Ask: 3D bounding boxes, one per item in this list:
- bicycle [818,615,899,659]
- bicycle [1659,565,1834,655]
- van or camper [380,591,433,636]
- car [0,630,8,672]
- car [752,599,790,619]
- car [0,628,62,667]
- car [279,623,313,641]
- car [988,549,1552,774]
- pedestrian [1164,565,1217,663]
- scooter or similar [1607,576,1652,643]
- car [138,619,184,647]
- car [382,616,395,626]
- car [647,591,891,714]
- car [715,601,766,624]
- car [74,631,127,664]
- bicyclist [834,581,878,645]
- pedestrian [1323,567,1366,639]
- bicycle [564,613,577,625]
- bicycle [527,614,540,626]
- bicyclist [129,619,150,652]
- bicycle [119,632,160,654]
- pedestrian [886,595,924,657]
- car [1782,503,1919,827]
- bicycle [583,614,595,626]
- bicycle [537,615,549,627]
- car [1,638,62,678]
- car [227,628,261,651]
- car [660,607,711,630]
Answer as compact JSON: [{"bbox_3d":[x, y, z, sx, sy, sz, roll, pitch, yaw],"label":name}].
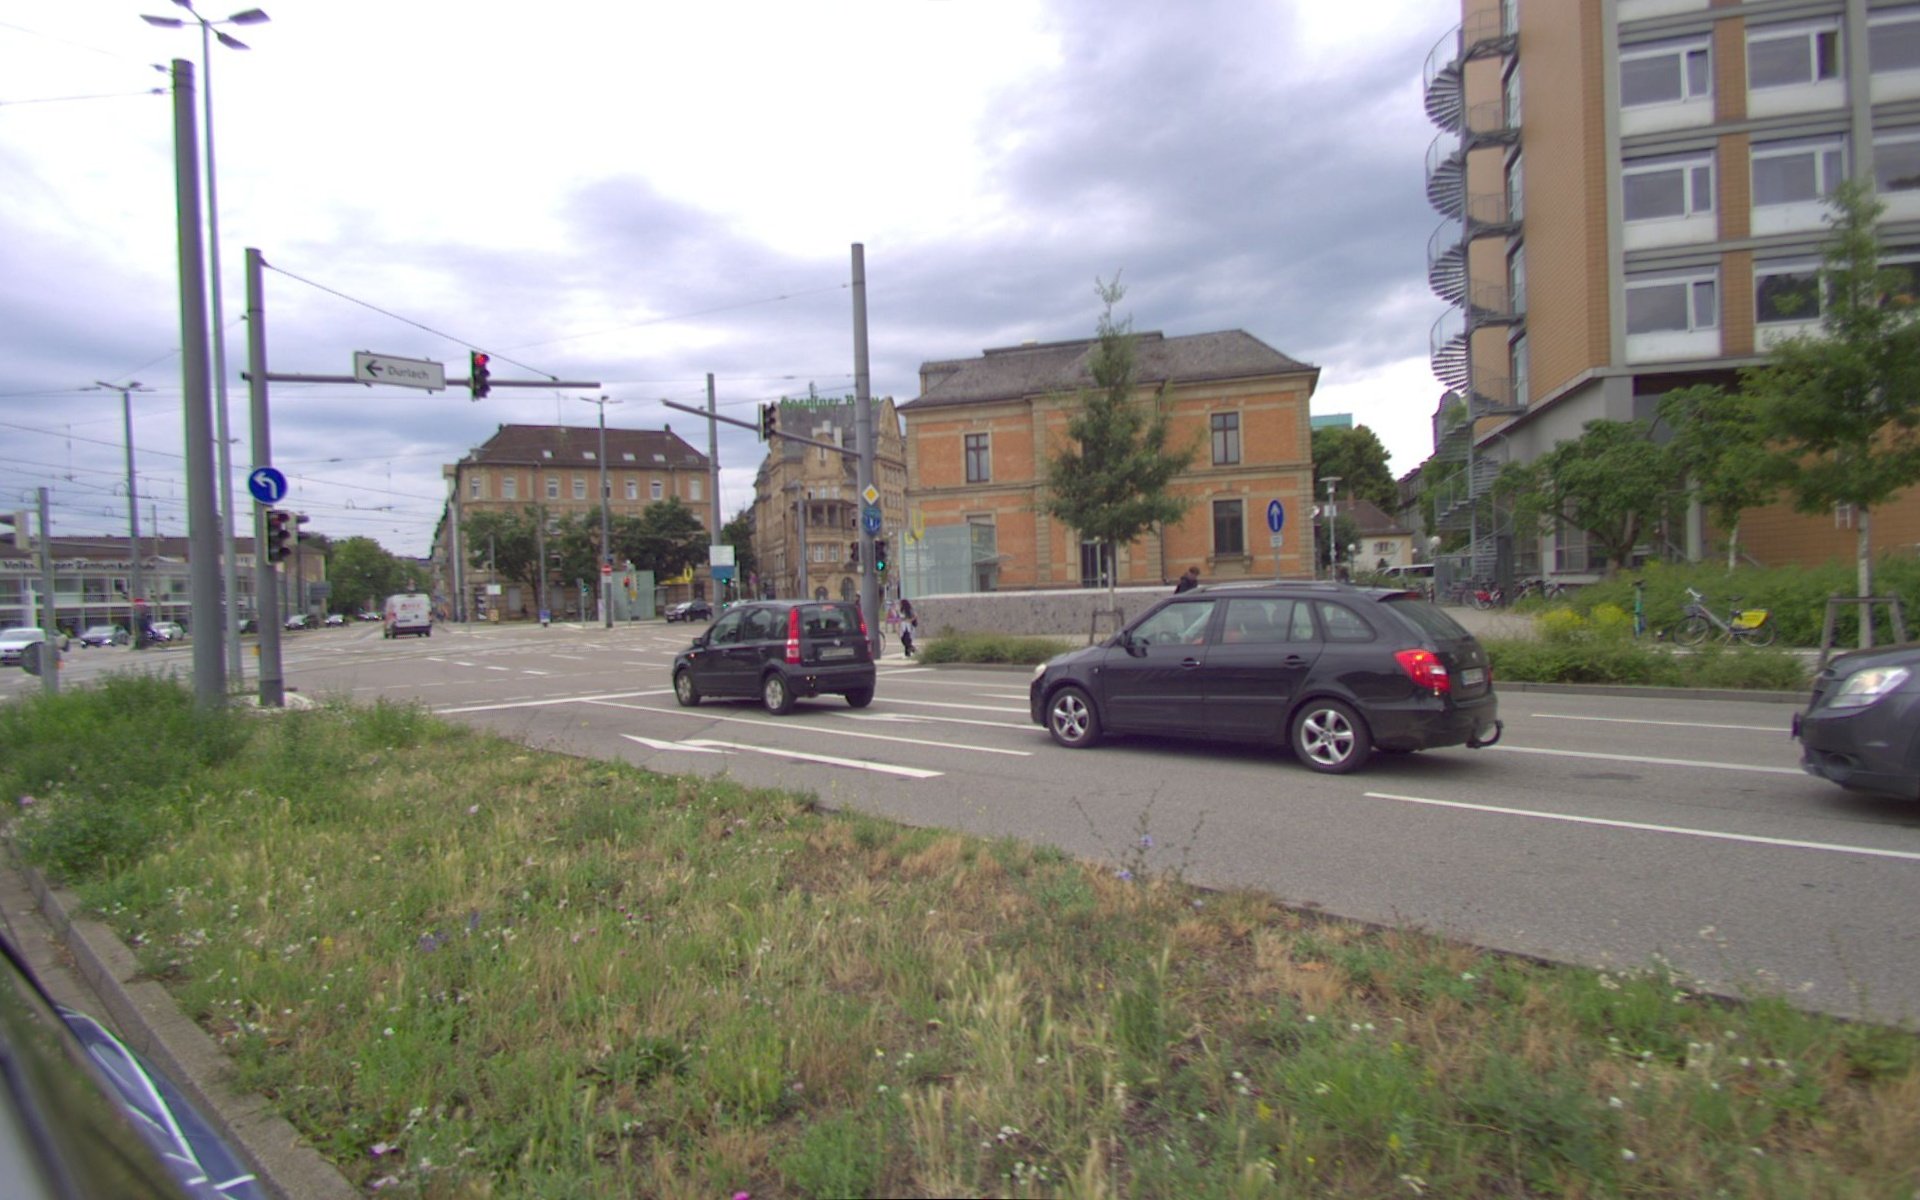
[{"bbox_3d":[-2.798,1.004,27.980,2.086,1.036,0.797,-5,1,-38],"label":"bicycle"},{"bbox_3d":[13.766,0.185,17.807,0.835,1.460,2.261,-2,0,-22],"label":"bicycle"},{"bbox_3d":[-33.237,0.862,60.655,2.248,2.547,5.587,-1,-1,-34],"label":"van or camper"},{"bbox_3d":[-46.535,2.443,47.357,1.966,2.029,4.012,-2,-1,-30],"label":"car"},{"bbox_3d":[-17.664,0.868,94.823,1.818,1.773,3.978,-2,0,18],"label":"car"},{"bbox_3d":[-37.641,1.893,40.463,1.941,1.467,4.204,-2,-1,-33],"label":"car"},{"bbox_3d":[-71.370,3.384,108.869,2.333,1.768,5.146,-2,0,-25],"label":"car"},{"bbox_3d":[2.527,0.501,9.074,4.480,1.519,1.849,-3,-3,44],"label":"car"},{"bbox_3d":[4.824,0.297,21.153,0.809,1.995,0.659,-1,-2,-42],"label":"pedestrian"},{"bbox_3d":[13.846,0.183,20.952,0.628,1.312,1.757,-3,-1,31],"label":"scooter or similar"},{"bbox_3d":[-61.635,2.538,78.140,1.966,2.029,4.013,-2,0,-27],"label":"car"},{"bbox_3d":[-93.914,3.466,166.223,1.857,1.481,4.478,-2,0,-30],"label":"car"},{"bbox_3d":[-2.807,0.699,14.388,3.666,1.527,1.600,-3,-2,45],"label":"car"},{"bbox_3d":[-18.531,1.062,85.719,2.143,1.727,4.900,-2,0,15],"label":"car"},{"bbox_3d":[-56.814,3.106,66.949,1.966,2.029,4.012,-2,-1,-30],"label":"car"},{"bbox_3d":[-2.867,0.357,27.938,0.802,1.669,0.795,-5,1,-38],"label":"bicyclist"},{"bbox_3d":[9.588,0.079,25.217,0.738,1.747,0.687,-1,-2,-42],"label":"pedestrian"},{"bbox_3d":[-35.593,1.744,92.461,0.742,1.038,2.404,-2,0,-28],"label":"bicycle"},{"bbox_3d":[-38.477,1.841,91.290,0.823,1.038,2.404,-2,0,-28],"label":"bicycle"},{"bbox_3d":[-42.768,1.839,52.765,0.514,1.651,0.650,-2,0,23],"label":"bicyclist"},{"bbox_3d":[-42.770,2.232,52.777,0.524,1.078,1.602,-2,0,23],"label":"bicycle"},{"bbox_3d":[-1.424,0.681,26.209,0.571,1.563,0.750,-1,-2,-43],"label":"pedestrian"},{"bbox_3d":[7.108,0.293,4.924,4.711,1.738,1.851,-2,-2,42],"label":"car"},{"bbox_3d":[-34.155,1.857,93.171,0.742,1.038,2.404,-2,0,-28],"label":"bicycle"},{"bbox_3d":[-37.757,1.943,91.662,0.742,1.038,2.404,-2,0,-28],"label":"bicycle"},{"bbox_3d":[-50.546,3.117,55.163,1.967,2.029,4.009,-2,-1,-37],"label":"car"},{"bbox_3d":[-67.546,3.696,95.517,1.966,2.029,4.013,-2,0,-27],"label":"car"},{"bbox_3d":[-21.511,1.400,79.407,1.982,1.623,4.224,-2,0,15],"label":"car"}]
